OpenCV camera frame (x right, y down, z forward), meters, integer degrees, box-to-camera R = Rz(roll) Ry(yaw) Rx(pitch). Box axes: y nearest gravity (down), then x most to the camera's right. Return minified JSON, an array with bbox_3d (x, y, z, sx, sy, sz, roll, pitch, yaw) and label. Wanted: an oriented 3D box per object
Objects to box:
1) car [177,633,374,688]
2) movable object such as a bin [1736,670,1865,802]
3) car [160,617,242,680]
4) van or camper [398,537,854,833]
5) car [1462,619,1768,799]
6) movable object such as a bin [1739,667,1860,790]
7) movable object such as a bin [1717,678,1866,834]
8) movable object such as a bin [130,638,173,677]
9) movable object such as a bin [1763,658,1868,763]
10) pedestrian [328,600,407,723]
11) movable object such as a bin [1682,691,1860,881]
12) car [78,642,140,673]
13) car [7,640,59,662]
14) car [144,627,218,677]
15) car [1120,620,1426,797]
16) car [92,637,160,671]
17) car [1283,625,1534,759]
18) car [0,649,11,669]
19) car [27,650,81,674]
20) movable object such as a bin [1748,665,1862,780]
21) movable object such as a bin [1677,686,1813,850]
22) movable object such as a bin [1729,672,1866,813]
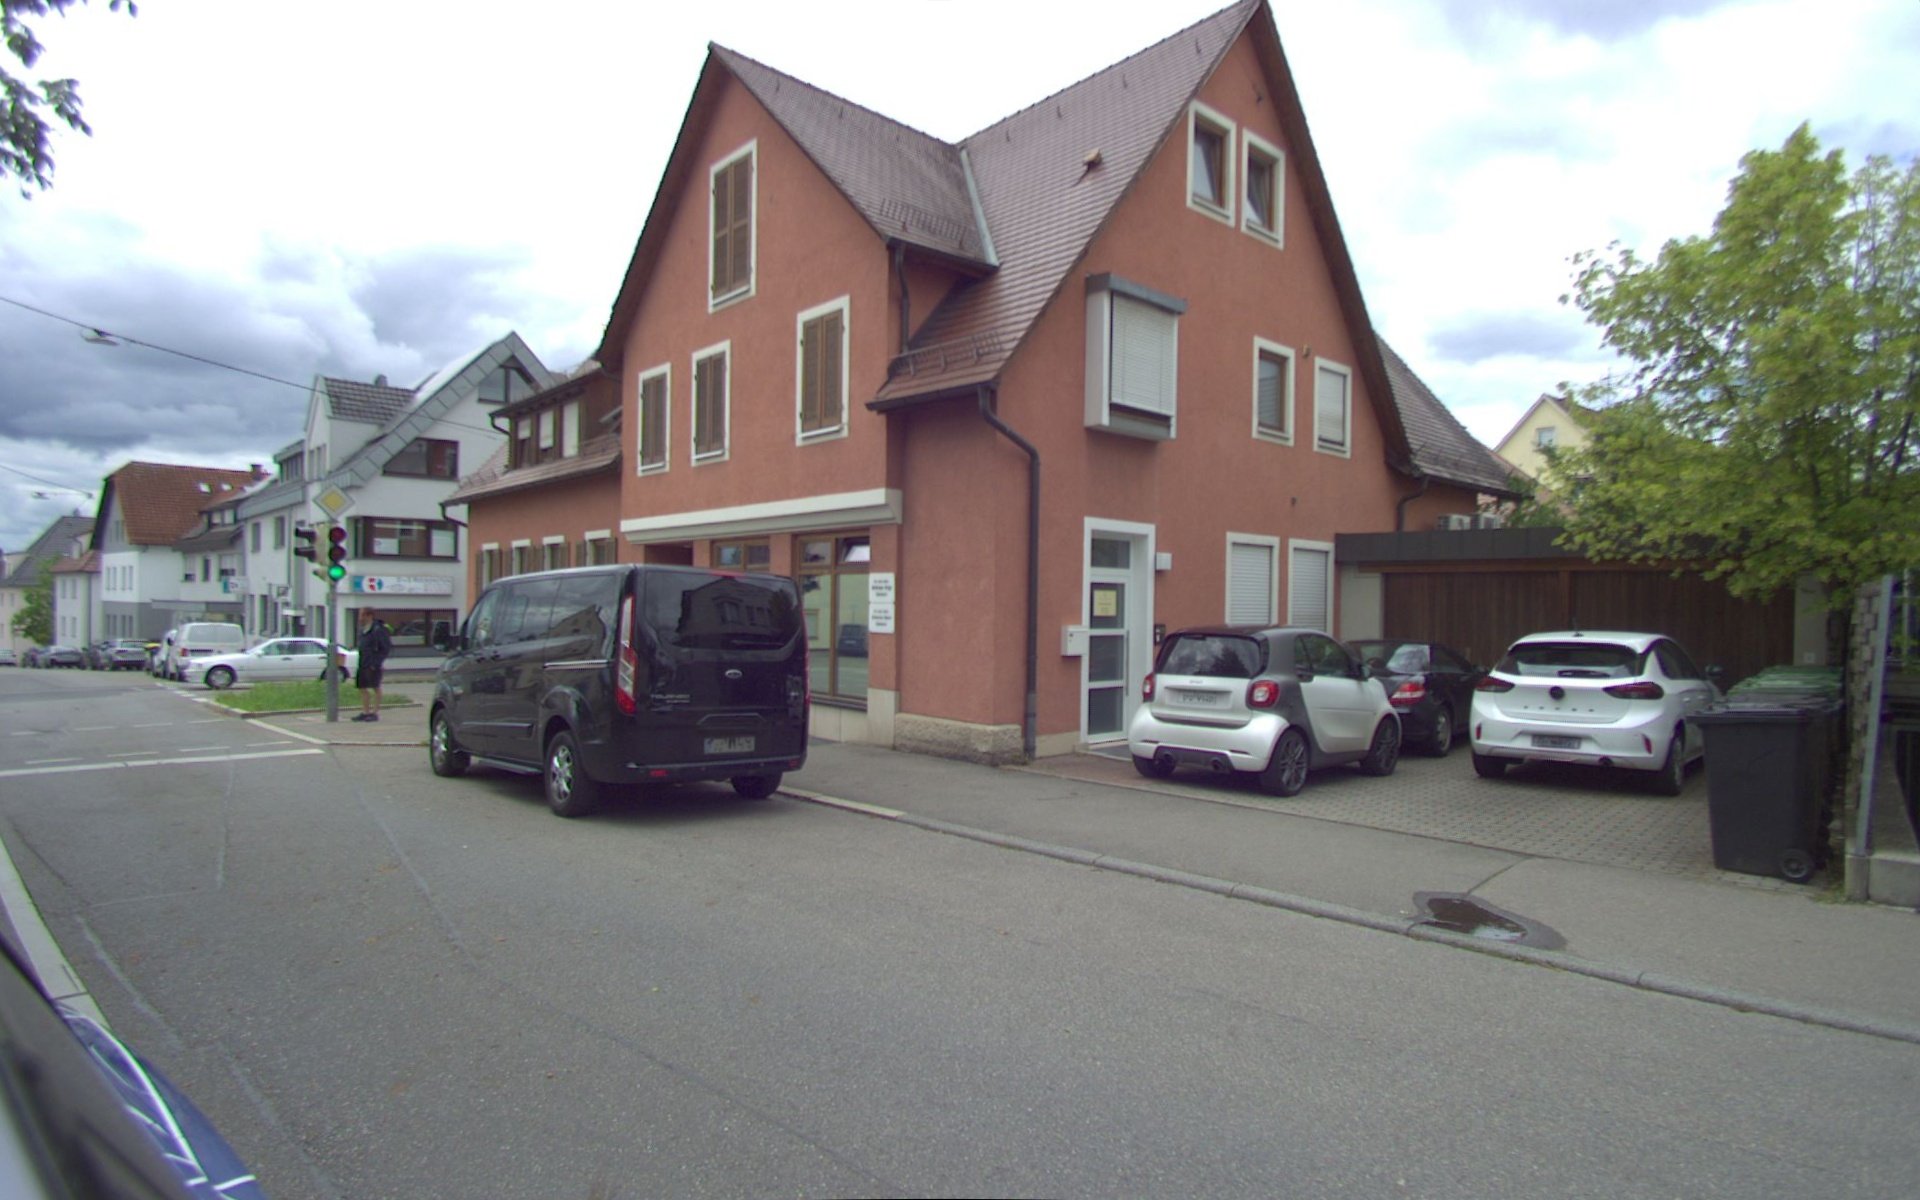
[{"bbox_3d":[-19.538,1.727,28.988,4.495,1.456,2.004,2,-4,-39],"label":"car"},{"bbox_3d":[7.197,1.133,8.673,0.795,1.026,0.658,-3,-3,42],"label":"movable object such as a bin"},{"bbox_3d":[-26.460,1.713,35.227,1.790,2.021,4.768,3,-5,-42],"label":"car"},{"bbox_3d":[-3.314,0.686,9.401,2.049,2.021,4.860,3,-4,-44],"label":"van or camper"},{"bbox_3d":[6.860,0.947,10.438,3.938,1.486,1.744,1,-1,-43],"label":"car"},{"bbox_3d":[7.666,1.144,9.246,0.795,1.026,0.658,-3,-3,42],"label":"movable object such as a bin"},{"bbox_3d":[6.155,1.114,7.496,0.795,1.026,0.658,-3,-3,42],"label":"movable object such as a bin"},{"bbox_3d":[-34.798,2.454,43.561,1.561,1.645,1.128,-3,-4,39],"label":"movable object such as a bin"},{"bbox_3d":[8.993,1.132,10.641,0.795,1.026,0.658,-3,-3,42],"label":"movable object such as a bin"},{"bbox_3d":[-9.082,0.920,15.513,0.879,1.798,0.804,0,-2,-43],"label":"pedestrian"},{"bbox_3d":[5.029,1.103,6.282,0.795,1.026,0.658,-3,-3,42],"label":"movable object such as a bin"},{"bbox_3d":[-46.909,3.167,55.774,4.404,1.645,1.819,-3,-4,40],"label":"car"},{"bbox_3d":[-62.340,3.436,68.066,3.993,1.456,1.820,-3,-4,37],"label":"car"},{"bbox_3d":[-30.374,2.037,39.407,1.713,1.846,4.300,3,-5,-44],"label":"car"},{"bbox_3d":[3.184,0.948,10.157,2.795,1.486,1.745,1,-1,-42],"label":"car"},{"bbox_3d":[-42.658,2.776,51.737,4.404,1.645,1.819,-3,-4,40],"label":"car"},{"bbox_3d":[5.679,1.026,12.631,1.709,1.358,3.550,-1,-1,45],"label":"car"},{"bbox_3d":[-75.383,4.595,78.810,3.807,1.458,1.633,-3,-3,39],"label":"car"},{"bbox_3d":[-57.479,3.948,64.173,4.463,1.456,1.819,-3,-4,39],"label":"car"},{"bbox_3d":[8.234,1.164,9.862,0.795,1.026,0.658,-3,-3,42],"label":"movable object such as a bin"},{"bbox_3d":[5.339,1.110,6.889,0.527,0.978,0.635,-2,0,-44],"label":"movable object such as a bin"},{"bbox_3d":[6.747,1.109,8.157,0.795,1.026,0.658,-3,-3,42],"label":"movable object such as a bin"}]
